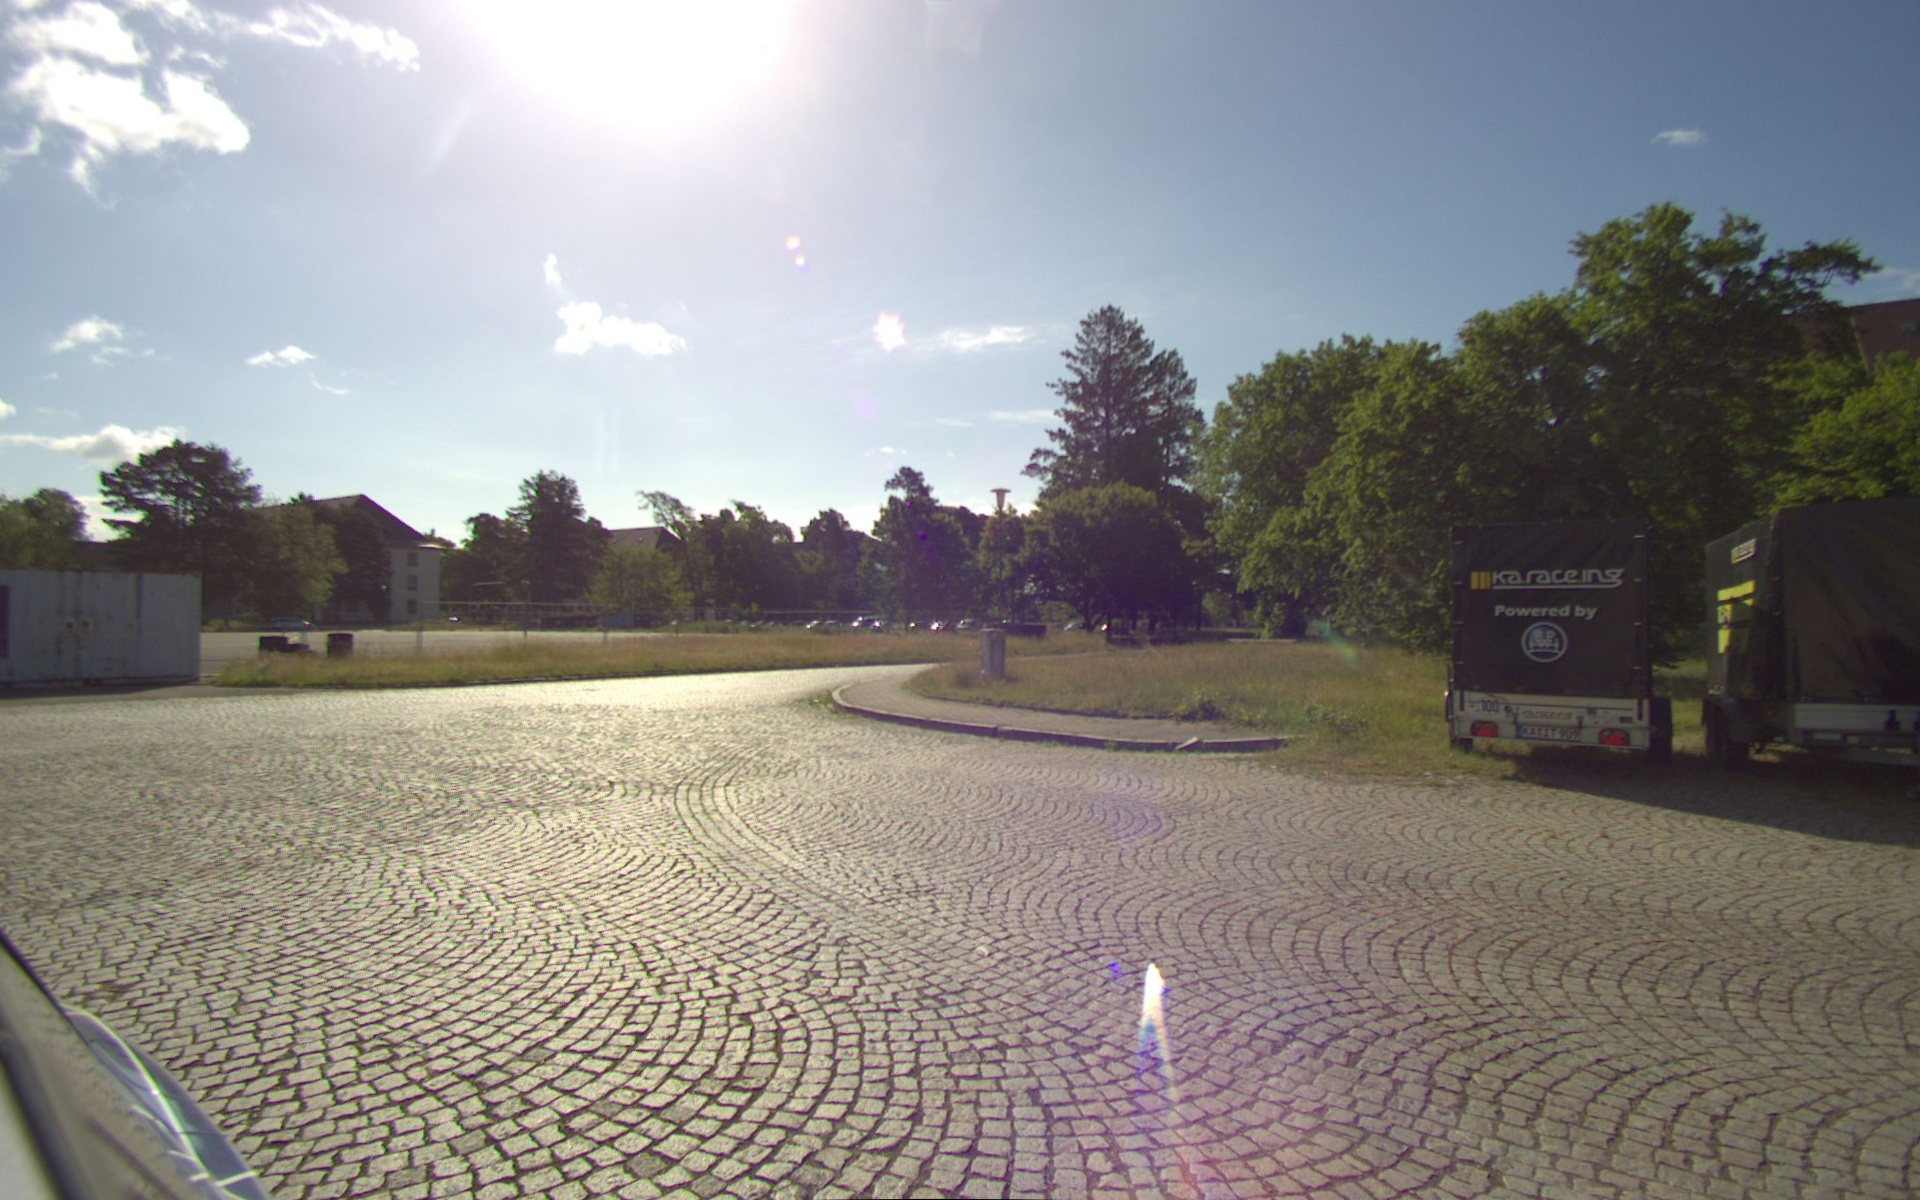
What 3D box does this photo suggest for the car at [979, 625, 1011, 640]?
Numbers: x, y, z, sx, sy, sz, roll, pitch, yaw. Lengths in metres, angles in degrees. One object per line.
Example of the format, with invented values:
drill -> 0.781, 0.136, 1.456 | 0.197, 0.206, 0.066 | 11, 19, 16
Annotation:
car -> 3.997, 3.729, 115.650 | 1.994, 1.664, 3.956 | 0, -2, 32

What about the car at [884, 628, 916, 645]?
car -> -7.360, 4.466, 124.326 | 1.993, 2.029, 3.957 | -1, -2, 31

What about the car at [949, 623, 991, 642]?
car -> 1.226, 3.801, 118.322 | 1.994, 2.029, 5.966 | -3, -1, 33

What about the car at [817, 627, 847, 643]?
car -> -16.297, 4.442, 128.966 | 1.738, 2.029, 3.806 | -1, -2, 34

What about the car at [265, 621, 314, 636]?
car -> -71.674, 3.063, 108.234 | 1.991, 1.594, 3.961 | 0, -2, 29

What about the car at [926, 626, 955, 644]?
car -> -2.309, 4.110, 119.761 | 1.737, 2.029, 3.580 | 0, -2, 32

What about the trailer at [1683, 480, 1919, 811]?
trailer -> 8.270, 0.385, 9.284 | 2.087, 2.372, 4.925 | -1, -2, 29

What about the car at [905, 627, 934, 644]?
car -> -4.814, 4.215, 121.034 | 1.737, 2.029, 3.580 | 0, -2, 32

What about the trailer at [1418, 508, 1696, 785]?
trailer -> 6.539, 0.453, 10.982 | 2.131, 2.315, 4.616 | -1, -2, 34

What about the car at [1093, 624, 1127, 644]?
car -> 15.940, 3.547, 107.153 | 2.238, 2.029, 4.306 | 0, -2, 29
